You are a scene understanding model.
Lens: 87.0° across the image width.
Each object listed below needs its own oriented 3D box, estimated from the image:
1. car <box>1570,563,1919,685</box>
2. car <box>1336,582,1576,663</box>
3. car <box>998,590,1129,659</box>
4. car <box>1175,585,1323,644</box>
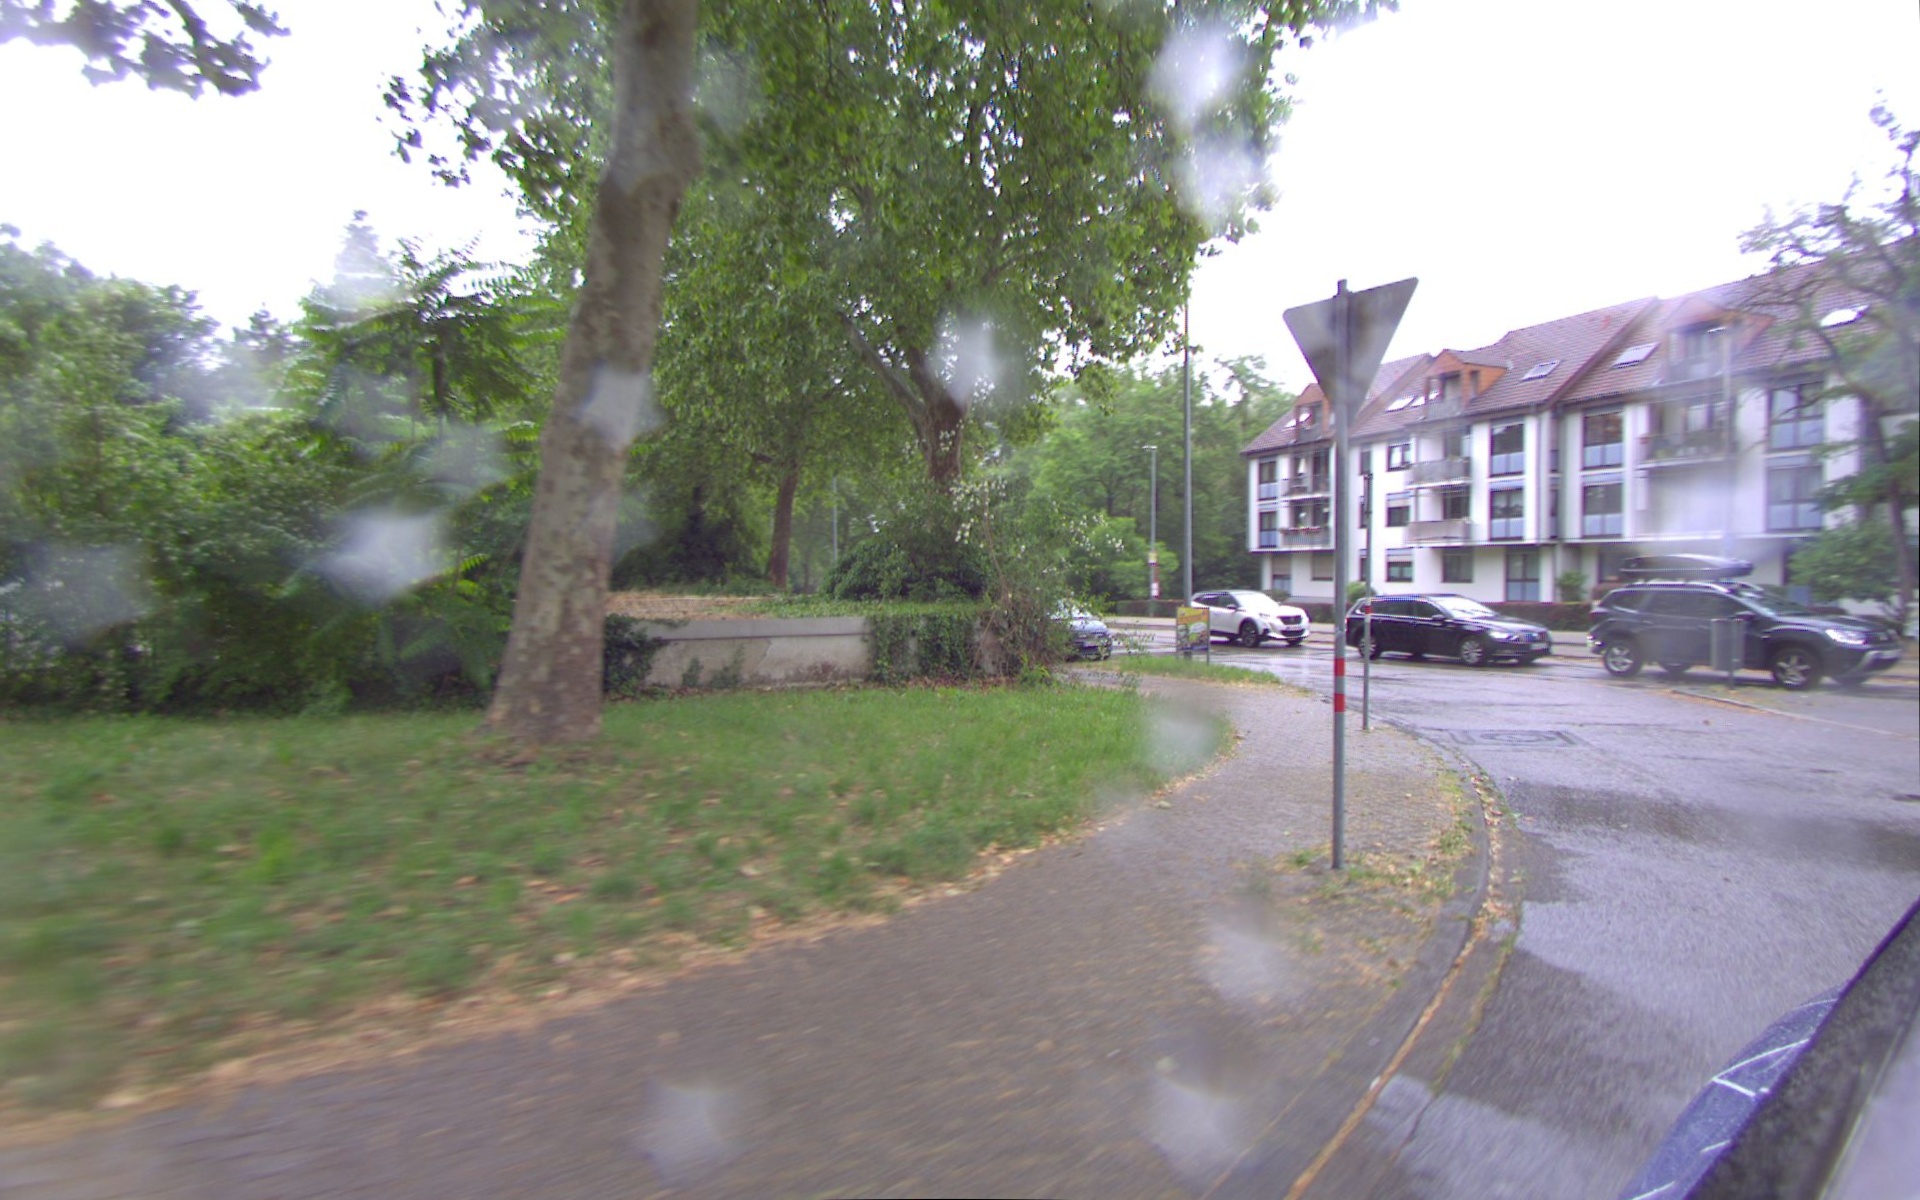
[{"bbox_3d":[13.112,0.342,17.081,1.730,1.732,4.608,-2,1,-25],"label":"car"},{"bbox_3d":[10.681,0.448,22.227,1.800,1.474,4.667,-4,1,-21],"label":"car"},{"bbox_3d":[2.543,0.560,25.774,1.719,1.510,3.607,-4,2,-23],"label":"car"},{"bbox_3d":[8.182,0.369,29.096,1.721,1.555,4.376,0,1,-23],"label":"car"}]
